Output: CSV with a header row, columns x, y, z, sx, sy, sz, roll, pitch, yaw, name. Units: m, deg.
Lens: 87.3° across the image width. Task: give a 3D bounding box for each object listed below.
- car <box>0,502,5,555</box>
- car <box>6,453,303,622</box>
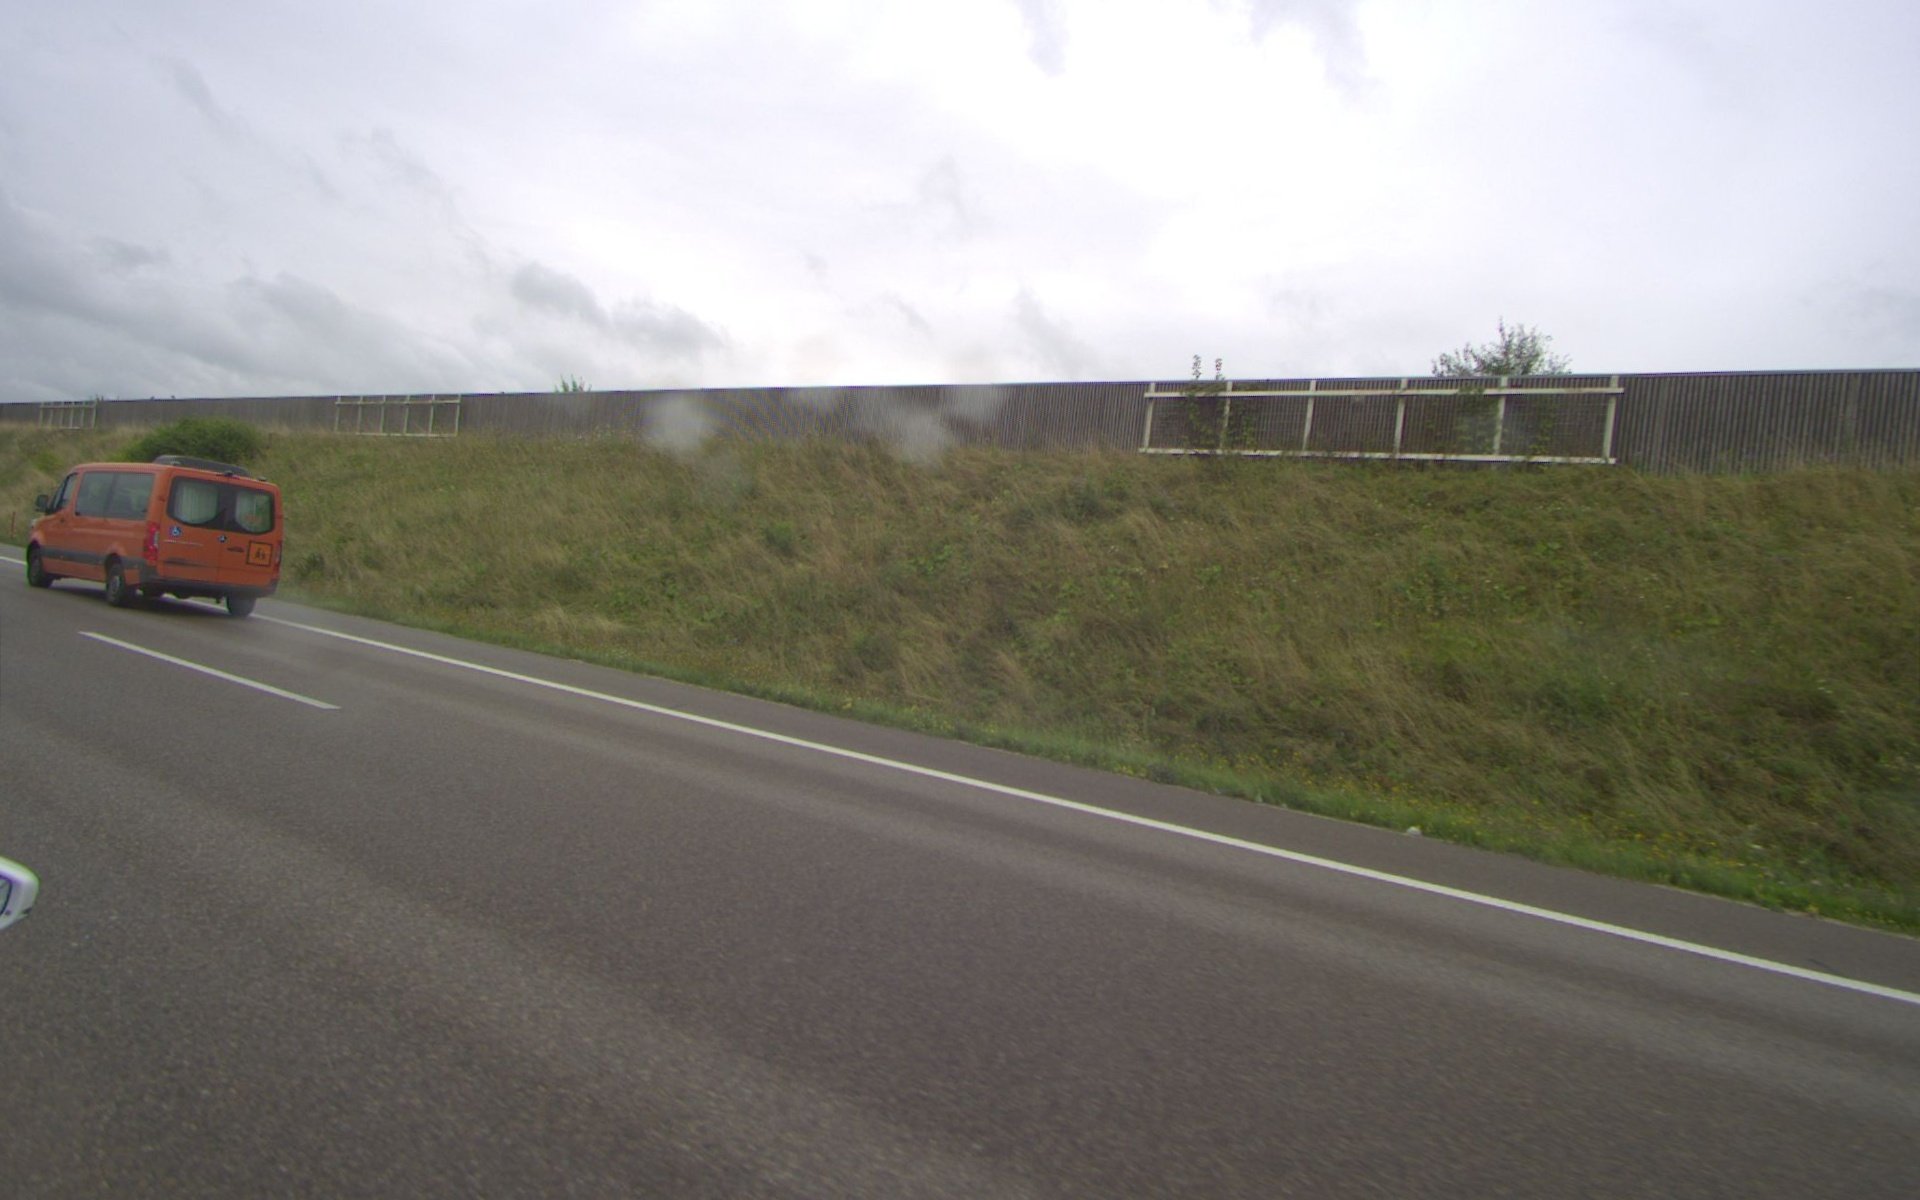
x,y,z,sx,sy,sz,roll,pitch,yaw,name
-13.327,-0.683,11.996,4.443,1.442,1.743,7,0,33,car
-14.495,-1.174,17.976,6.079,2.343,2.089,7,0,32,car
